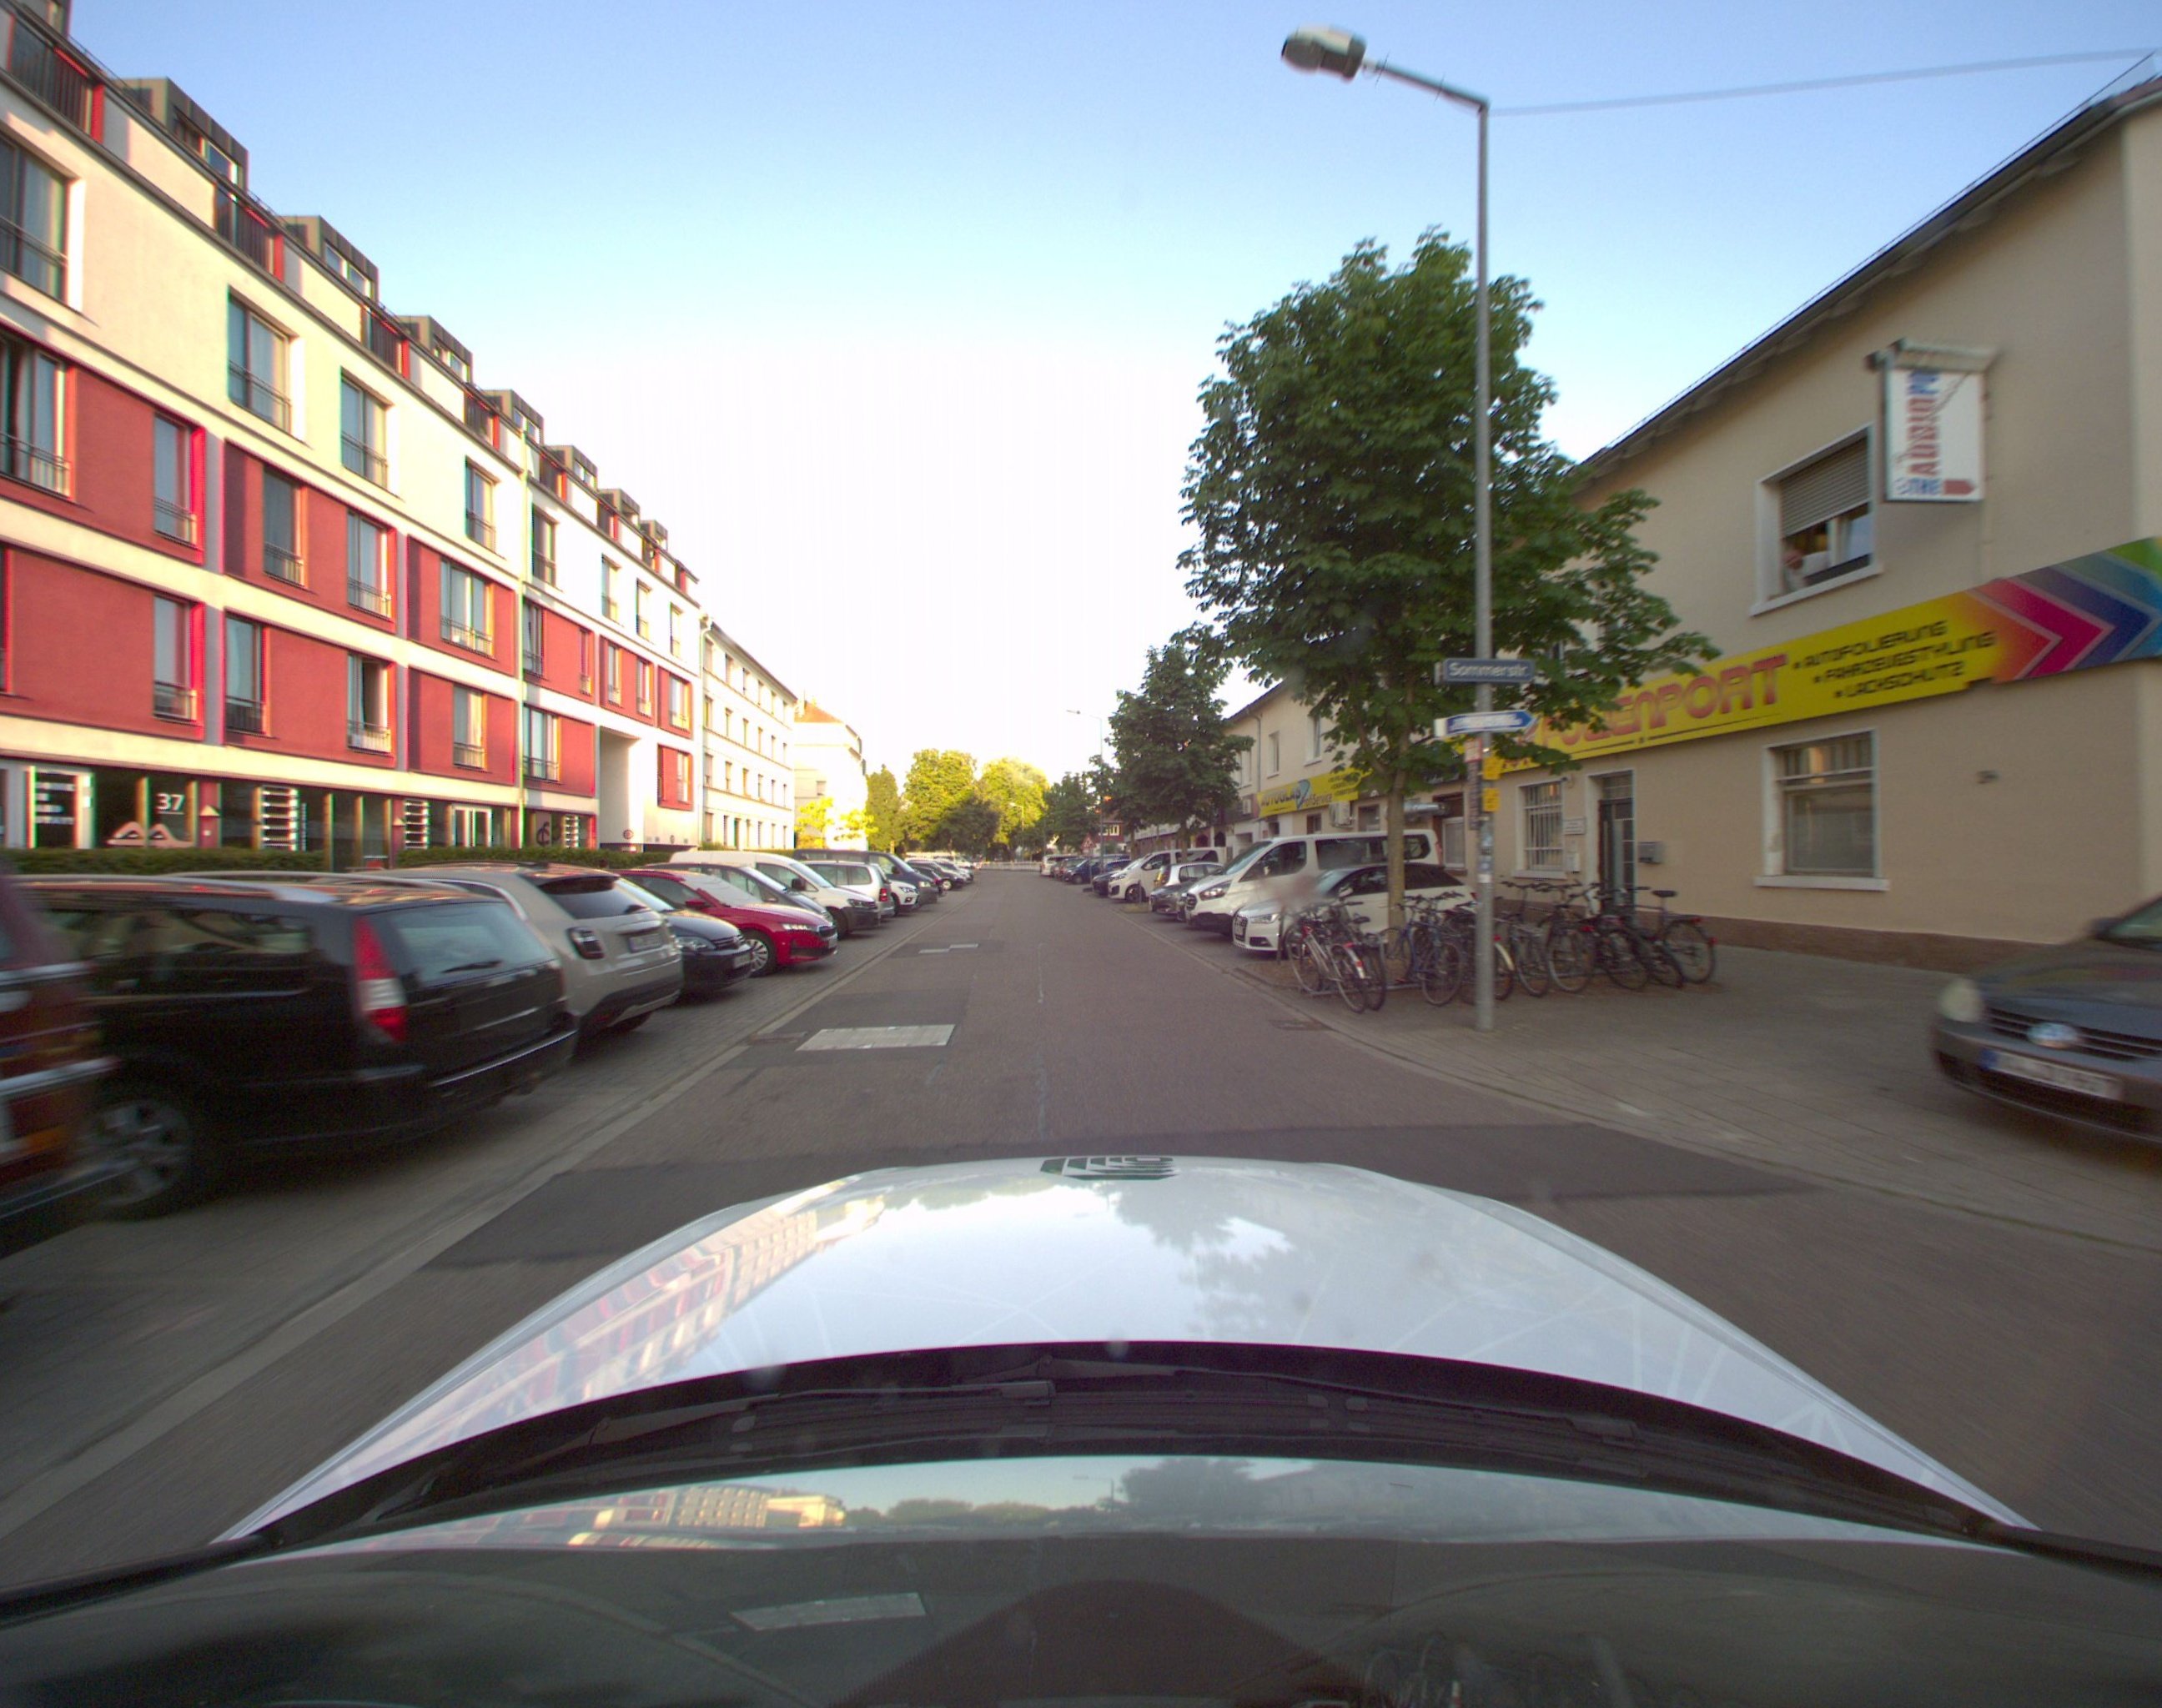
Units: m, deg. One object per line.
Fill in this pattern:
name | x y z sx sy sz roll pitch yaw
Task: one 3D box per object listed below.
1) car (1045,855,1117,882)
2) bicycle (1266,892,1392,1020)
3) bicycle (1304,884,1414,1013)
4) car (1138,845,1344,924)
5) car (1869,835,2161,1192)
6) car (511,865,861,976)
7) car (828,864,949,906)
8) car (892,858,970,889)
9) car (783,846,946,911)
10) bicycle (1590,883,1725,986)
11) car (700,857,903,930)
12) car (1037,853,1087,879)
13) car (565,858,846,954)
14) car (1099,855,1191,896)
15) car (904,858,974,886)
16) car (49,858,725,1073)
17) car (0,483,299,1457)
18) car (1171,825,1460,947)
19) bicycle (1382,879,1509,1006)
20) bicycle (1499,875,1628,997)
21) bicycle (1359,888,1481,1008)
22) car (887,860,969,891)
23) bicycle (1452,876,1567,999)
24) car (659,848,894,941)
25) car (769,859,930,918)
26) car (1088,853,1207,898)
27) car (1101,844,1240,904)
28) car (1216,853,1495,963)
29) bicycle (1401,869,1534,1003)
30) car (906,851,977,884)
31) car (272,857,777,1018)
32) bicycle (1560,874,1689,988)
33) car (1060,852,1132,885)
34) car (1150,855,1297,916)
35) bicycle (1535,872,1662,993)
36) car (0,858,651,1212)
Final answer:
car | -0.025 1.038 59.038 4.942 1.695 1.843 -3 -1 -9
bicycle | 2.612 1.023 8.817 0.438 1.130 2.011 -2 0 -9
bicycle | 3.015 0.965 9.033 0.385 1.200 2.015 -2 0 -3
car | 4.123 0.764 21.501 4.933 1.742 2.047 -3 -1 -3
car | 6.758 0.656 4.094 4.041 1.514 1.754 -2 1 -3
car | -5.597 0.926 12.013 4.200 1.490 1.847 1 -1 -4
car | -7.334 1.170 31.403 4.248 1.505 1.997 1 -1 -4
car | -8.743 1.127 47.731 4.248 1.715 1.997 1 -1 -4
car | -6.988 0.786 26.739 4.841 2.021 1.904 1 -1 -4
bicycle | 6.471 0.860 9.231 0.387 1.017 1.479 -2 0 -3
car | -6.673 0.927 19.840 4.248 1.660 1.997 1 -1 -4
car | -1.612 1.017 68.904 3.967 1.912 2.043 -3 -1 -9
car | -6.670 0.908 14.924 4.203 1.616 1.996 1 -1 -6
car | 3.204 1.073 41.038 4.311 1.804 1.807 -3 -1 -6
car | -9.090 1.136 52.484 4.248 1.750 1.997 1 -1 -4
car | -5.575 0.828 6.968 4.193 1.538 1.843 1 -1 2
car | -5.107 0.289 1.868 4.500 2.584 1.998 1 -1 -3
car | 4.463 0.591 16.091 4.979 1.983 2.217 -3 -1 -4
bicycle | 4.005 0.913 9.121 0.385 1.200 2.015 -2 0 -3
bicycle | 5.299 0.848 9.033 0.444 1.200 1.479 -2 -1 -3
bicycle | 3.721 0.973 9.114 0.385 1.114 2.015 -2 0 -3
car | -8.406 1.157 45.009 4.249 1.622 1.997 1 -1 -5
bicycle | 4.692 0.870 9.022 0.385 1.200 1.479 -2 -1 -3
car | -6.339 0.827 17.389 4.248 1.836 1.997 1 -1 -4
car | -6.757 0.986 24.194 4.248 1.652 1.885 1 -1 -4
car | 2.878 0.951 36.105 4.937 1.689 2.073 -3 -1 -6
car | 3.358 0.751 31.165 4.937 1.958 2.045 -3 -1 -6
car | 4.366 0.818 13.291 3.914 1.451 1.764 -3 0 -7
bicycle | 4.263 0.833 9.150 0.385 1.304 2.015 -2 0 -3
car | -9.400 0.902 55.106 4.524 2.134 1.997 1 -1 -4
car | -5.911 0.849 9.207 4.203 1.575 1.996 1 -1 -6
bicycle | 6.051 0.816 9.157 0.352 1.143 1.479 -2 0 -3
car | 0.953 0.960 53.471 4.477 1.912 1.683 -3 -1 -9
car | 4.122 0.889 24.049 3.903 1.526 1.937 -3 -1 -3
bicycle | 5.697 0.816 9.051 0.352 1.200 1.479 -2 -1 -3
car | -4.958 0.803 4.443 4.203 1.538 1.787 1 -1 -6
